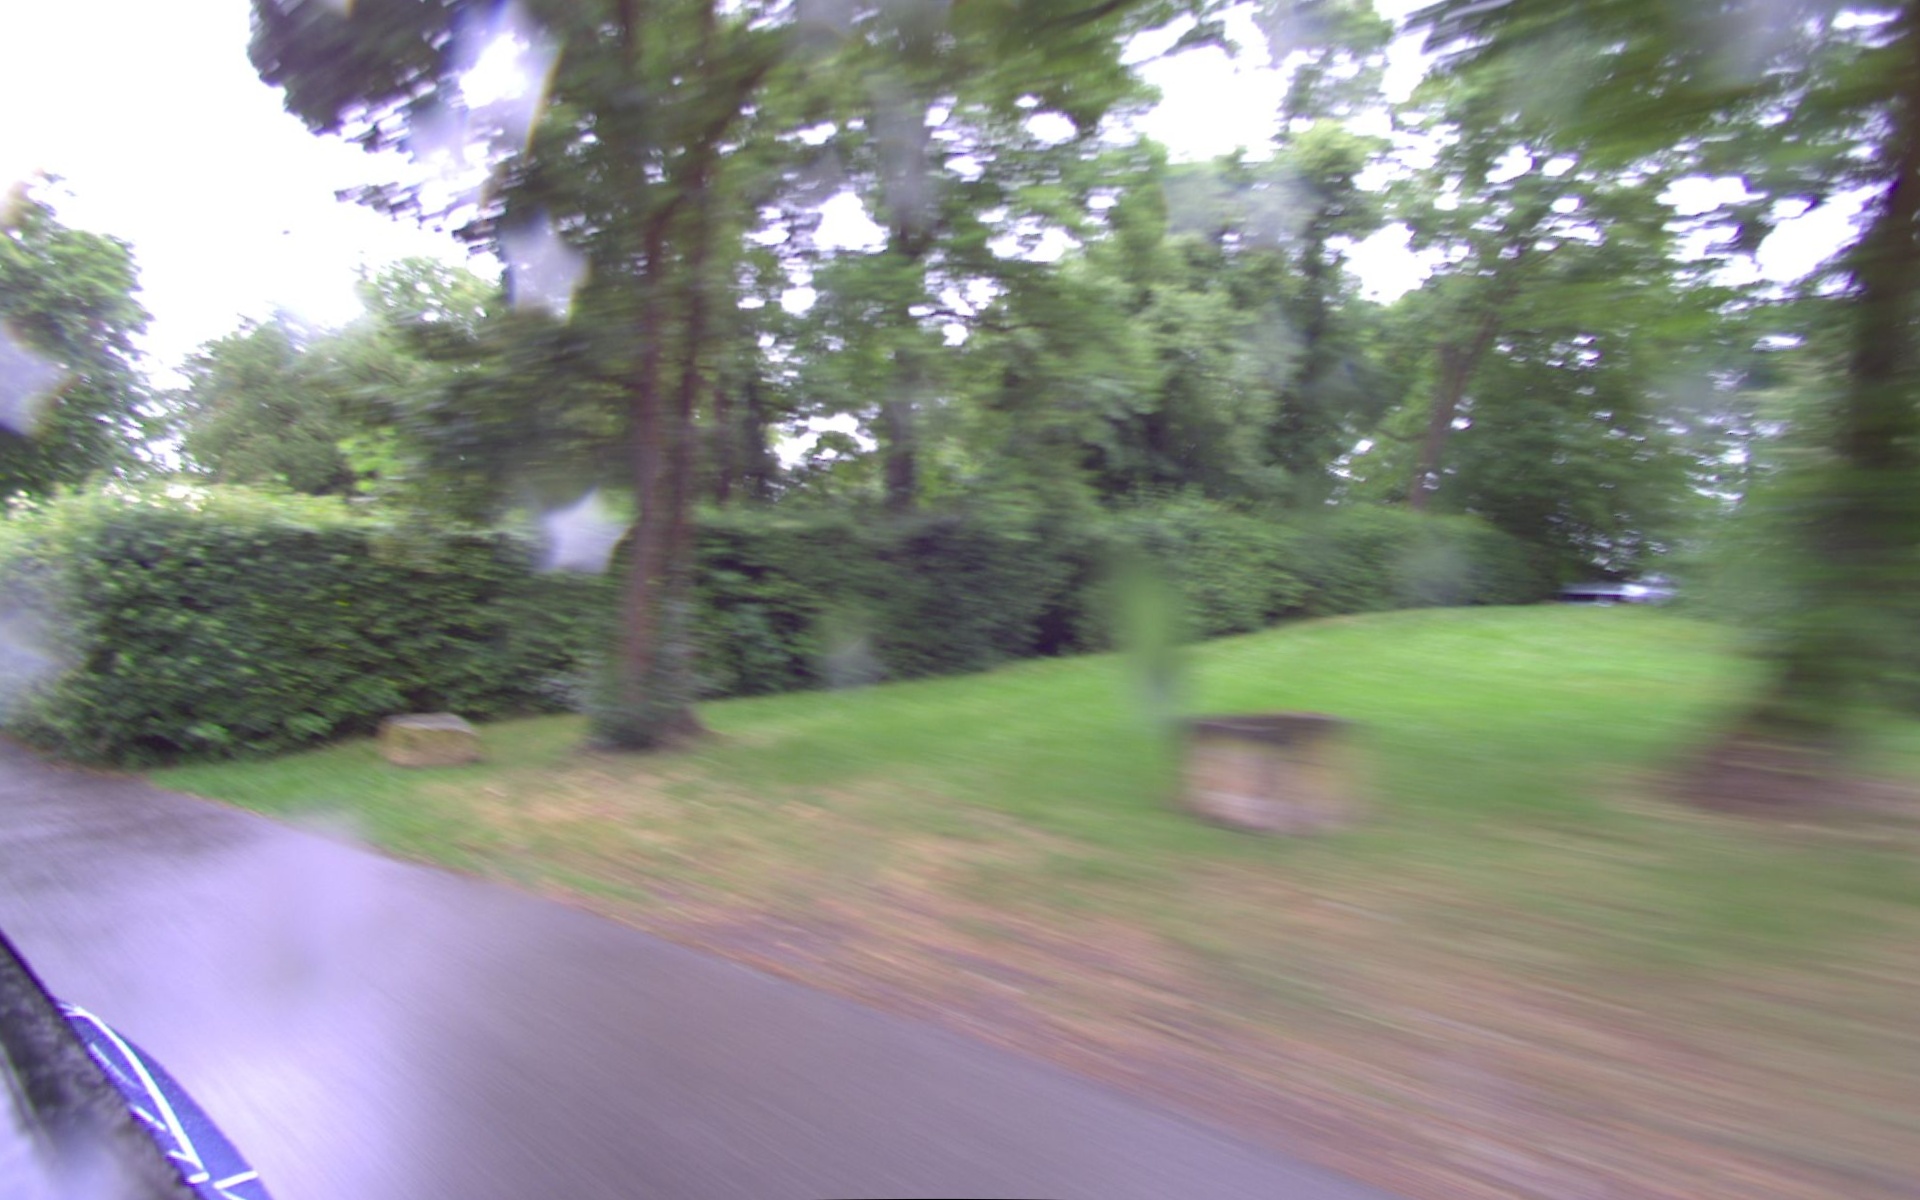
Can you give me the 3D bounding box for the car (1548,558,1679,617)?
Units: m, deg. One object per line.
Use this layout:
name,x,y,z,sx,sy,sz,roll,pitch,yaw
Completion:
car,17.779,-0.348,27.477,3.937,1.495,1.884,-1,2,-40
